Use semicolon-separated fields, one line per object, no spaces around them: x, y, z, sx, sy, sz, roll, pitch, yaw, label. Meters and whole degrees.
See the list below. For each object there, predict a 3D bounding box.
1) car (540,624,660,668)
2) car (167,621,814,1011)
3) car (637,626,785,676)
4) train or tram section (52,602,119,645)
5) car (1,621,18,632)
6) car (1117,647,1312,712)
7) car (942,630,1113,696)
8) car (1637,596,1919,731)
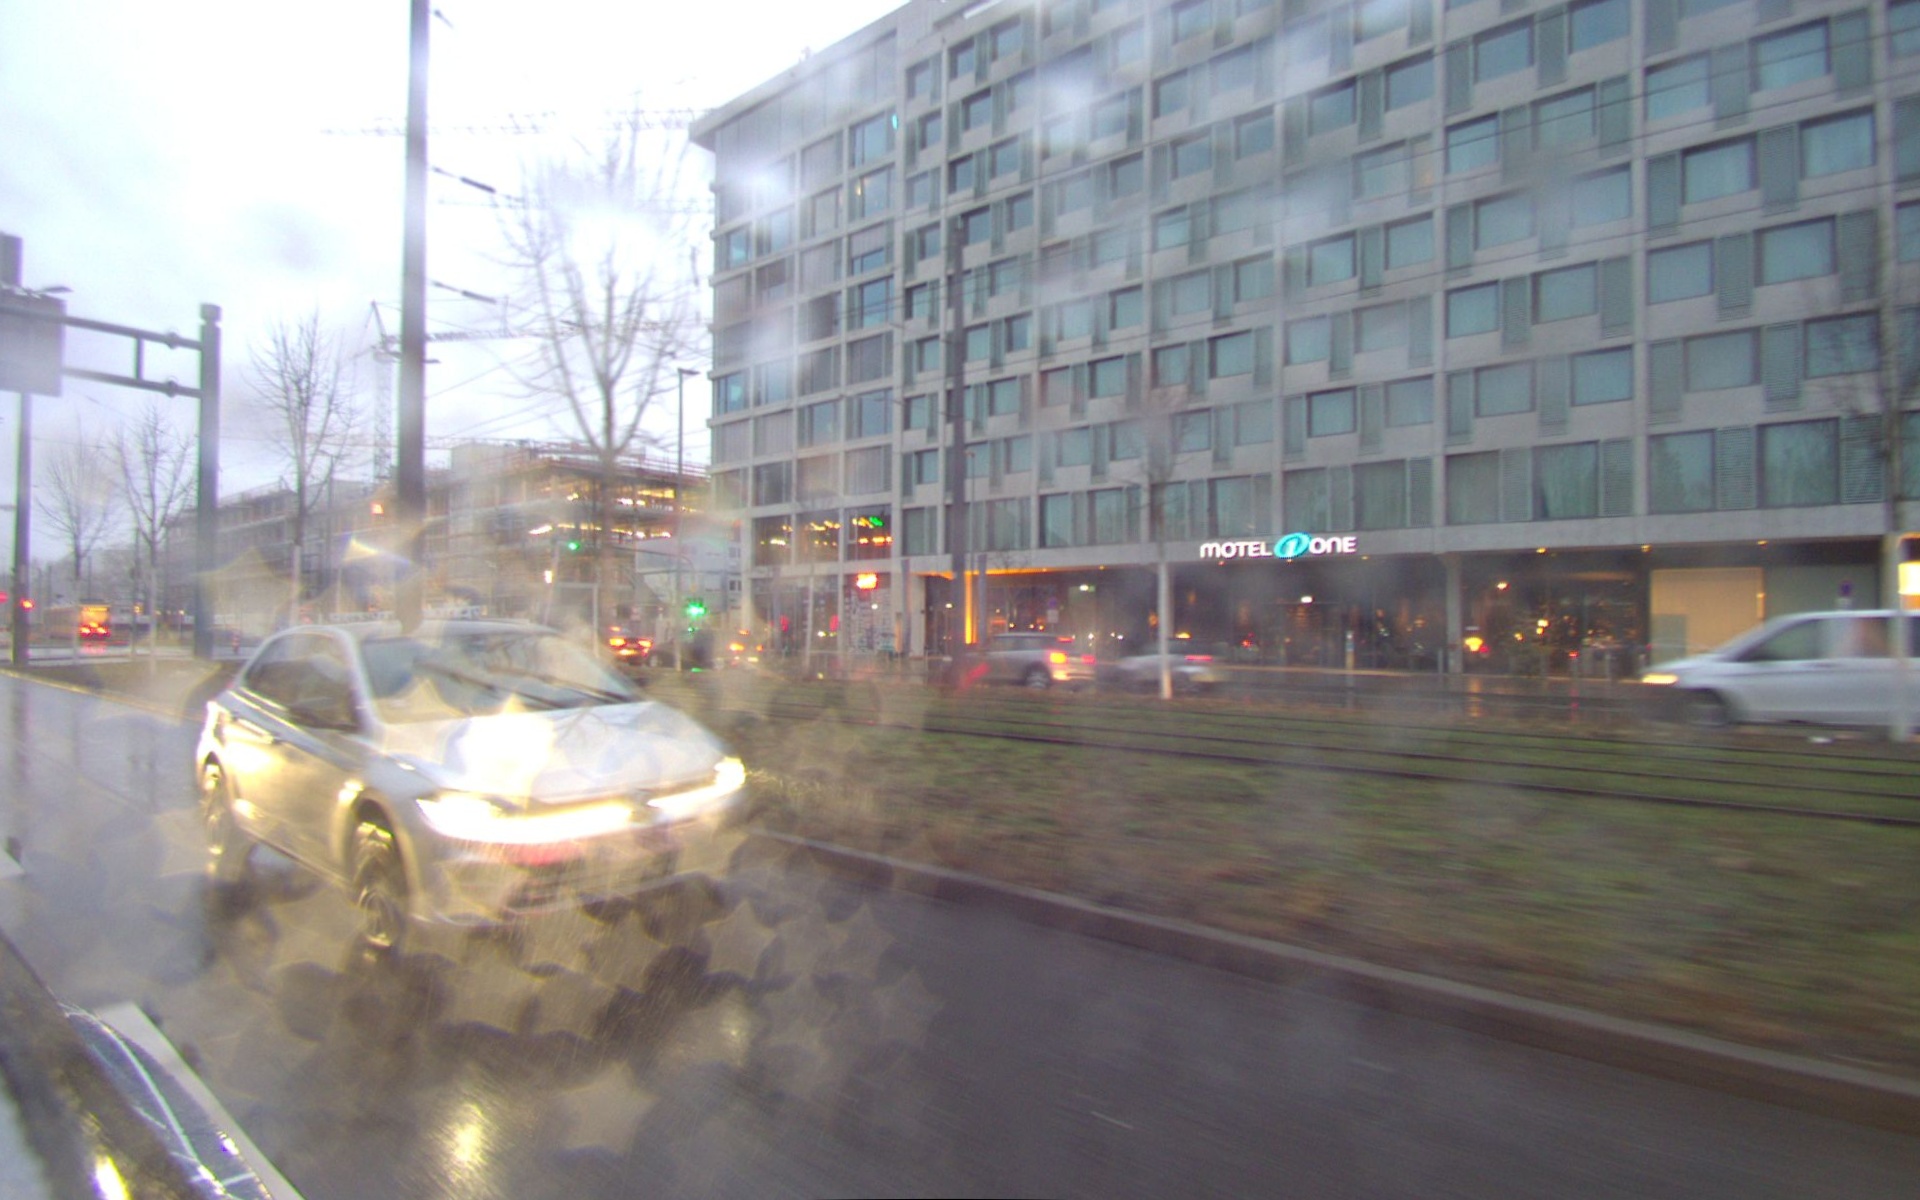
-13.177;1.639;36.892;5.032;1.479;1.972;-1;-3;42;car
-2.800;0.819;5.615;3.978;1.381;1.745;-1;-1;40;car
-8.031;1.598;32.617;4.425;1.508;1.983;-1;-2;26;car
-76.904;2.103;88.825;14.267;3.513;2.924;-2;-3;43;train or tram section
-181.160;5.037;192.950;3.998;2.029;1.973;-1;-3;41;car
6.776;2.062;27.322;4.790;1.528;1.876;-1;-2;41;car
1.576;1.457;24.236;3.704;1.442;1.876;-1;-3;40;car
12.603;0.854;14.066;5.115;1.732;1.876;-1;-3;41;car
